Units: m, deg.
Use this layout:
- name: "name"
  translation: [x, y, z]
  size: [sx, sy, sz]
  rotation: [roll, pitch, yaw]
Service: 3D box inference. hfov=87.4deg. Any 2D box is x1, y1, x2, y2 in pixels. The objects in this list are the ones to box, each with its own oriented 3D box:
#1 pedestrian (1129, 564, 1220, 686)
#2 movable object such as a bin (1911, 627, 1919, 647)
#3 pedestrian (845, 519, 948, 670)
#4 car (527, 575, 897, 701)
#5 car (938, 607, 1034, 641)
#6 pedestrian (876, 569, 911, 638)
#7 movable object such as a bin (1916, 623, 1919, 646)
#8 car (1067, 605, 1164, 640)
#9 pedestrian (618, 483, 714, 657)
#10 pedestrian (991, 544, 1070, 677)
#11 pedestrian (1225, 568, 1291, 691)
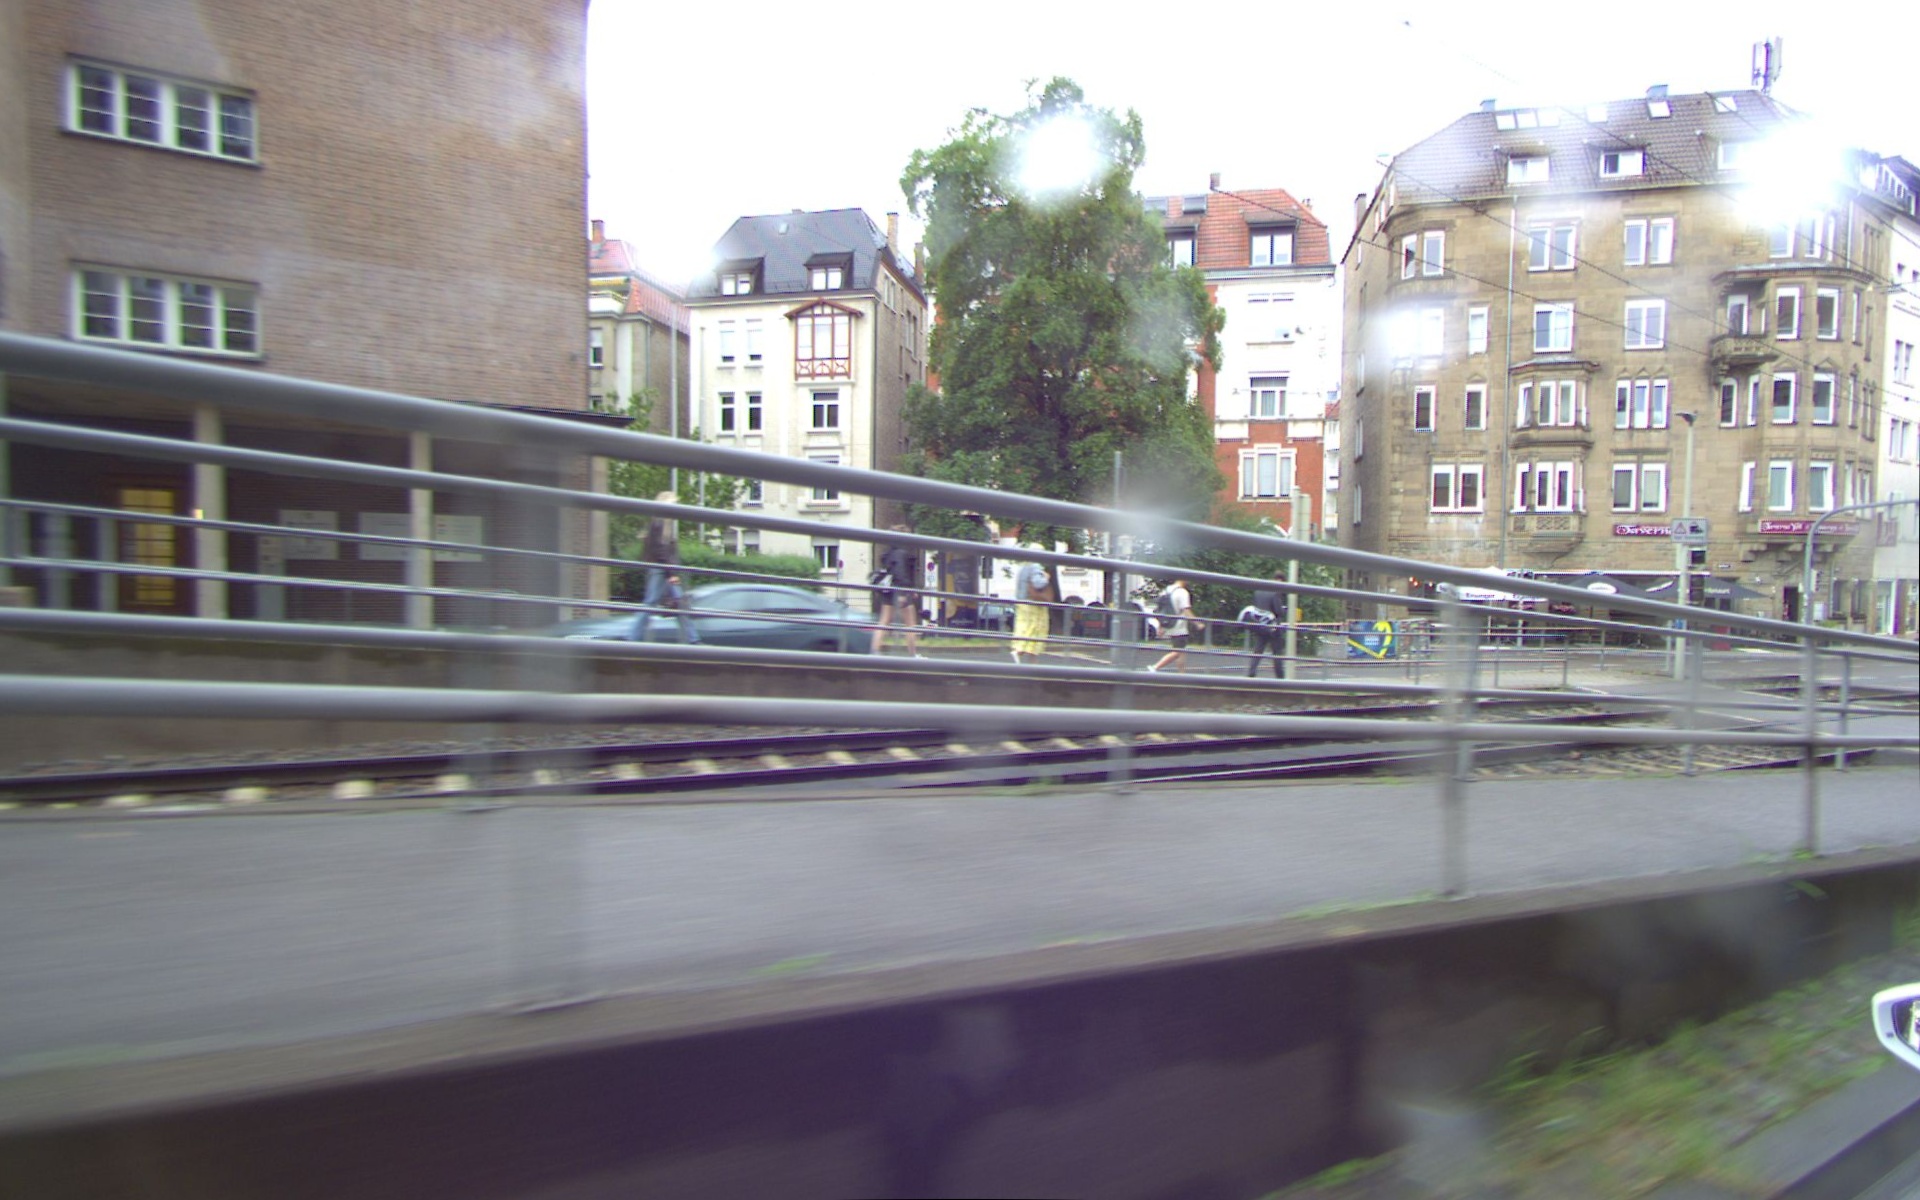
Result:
- name: "pedestrian"
  translation: [2.956, 0.345, 13.855]
  size: [0.945, 1.604, 0.689]
  rotation: [3, 0, -30]
- name: "movable object such as a bin"
  translation: [46.065, 1.779, 48.060]
  size: [0.553, 0.923, 0.590]
  rotation: [1, 4, -30]
- name: "pedestrian"
  translation: [-0.771, -0.065, 12.100]
  size: [0.873, 1.718, 0.740]
  rotation: [4, 0, -30]
- name: "car"
  translation: [-3.350, 0.491, 13.922]
  size: [4.708, 1.517, 1.635]
  rotation: [1, 0, -30]
- name: "car"
  translation: [1.197, 1.062, 45.225]
  size: [4.059, 1.421, 1.743]
  rotation: [1, -1, 12]
- name: "pedestrian"
  translation: [-1.675, 0.091, 25.300]
  size: [0.681, 1.697, 0.600]
  rotation: [1, -1, -33]
- name: "movable object such as a bin"
  translation: [46.653, 1.705, 48.321]
  size: [0.679, 1.088, 0.709]
  rotation: [1, 4, -30]
- name: "car"
  translation: [6.822, 0.971, 43.813]
  size: [4.083, 1.421, 1.743]
  rotation: [1, -1, 12]
- name: "pedestrian"
  translation: [-3.071, -0.303, 10.472]
  size: [0.681, 1.721, 0.660]
  rotation: [4, 1, -33]
- name: "pedestrian"
  translation: [0.913, 0.134, 13.144]
  size: [0.633, 1.669, 0.740]
  rotation: [4, 0, -30]
- name: "pedestrian"
  translation: [4.571, 0.445, 15.404]
  size: [0.790, 1.842, 0.508]
  rotation: [2, 1, -30]
